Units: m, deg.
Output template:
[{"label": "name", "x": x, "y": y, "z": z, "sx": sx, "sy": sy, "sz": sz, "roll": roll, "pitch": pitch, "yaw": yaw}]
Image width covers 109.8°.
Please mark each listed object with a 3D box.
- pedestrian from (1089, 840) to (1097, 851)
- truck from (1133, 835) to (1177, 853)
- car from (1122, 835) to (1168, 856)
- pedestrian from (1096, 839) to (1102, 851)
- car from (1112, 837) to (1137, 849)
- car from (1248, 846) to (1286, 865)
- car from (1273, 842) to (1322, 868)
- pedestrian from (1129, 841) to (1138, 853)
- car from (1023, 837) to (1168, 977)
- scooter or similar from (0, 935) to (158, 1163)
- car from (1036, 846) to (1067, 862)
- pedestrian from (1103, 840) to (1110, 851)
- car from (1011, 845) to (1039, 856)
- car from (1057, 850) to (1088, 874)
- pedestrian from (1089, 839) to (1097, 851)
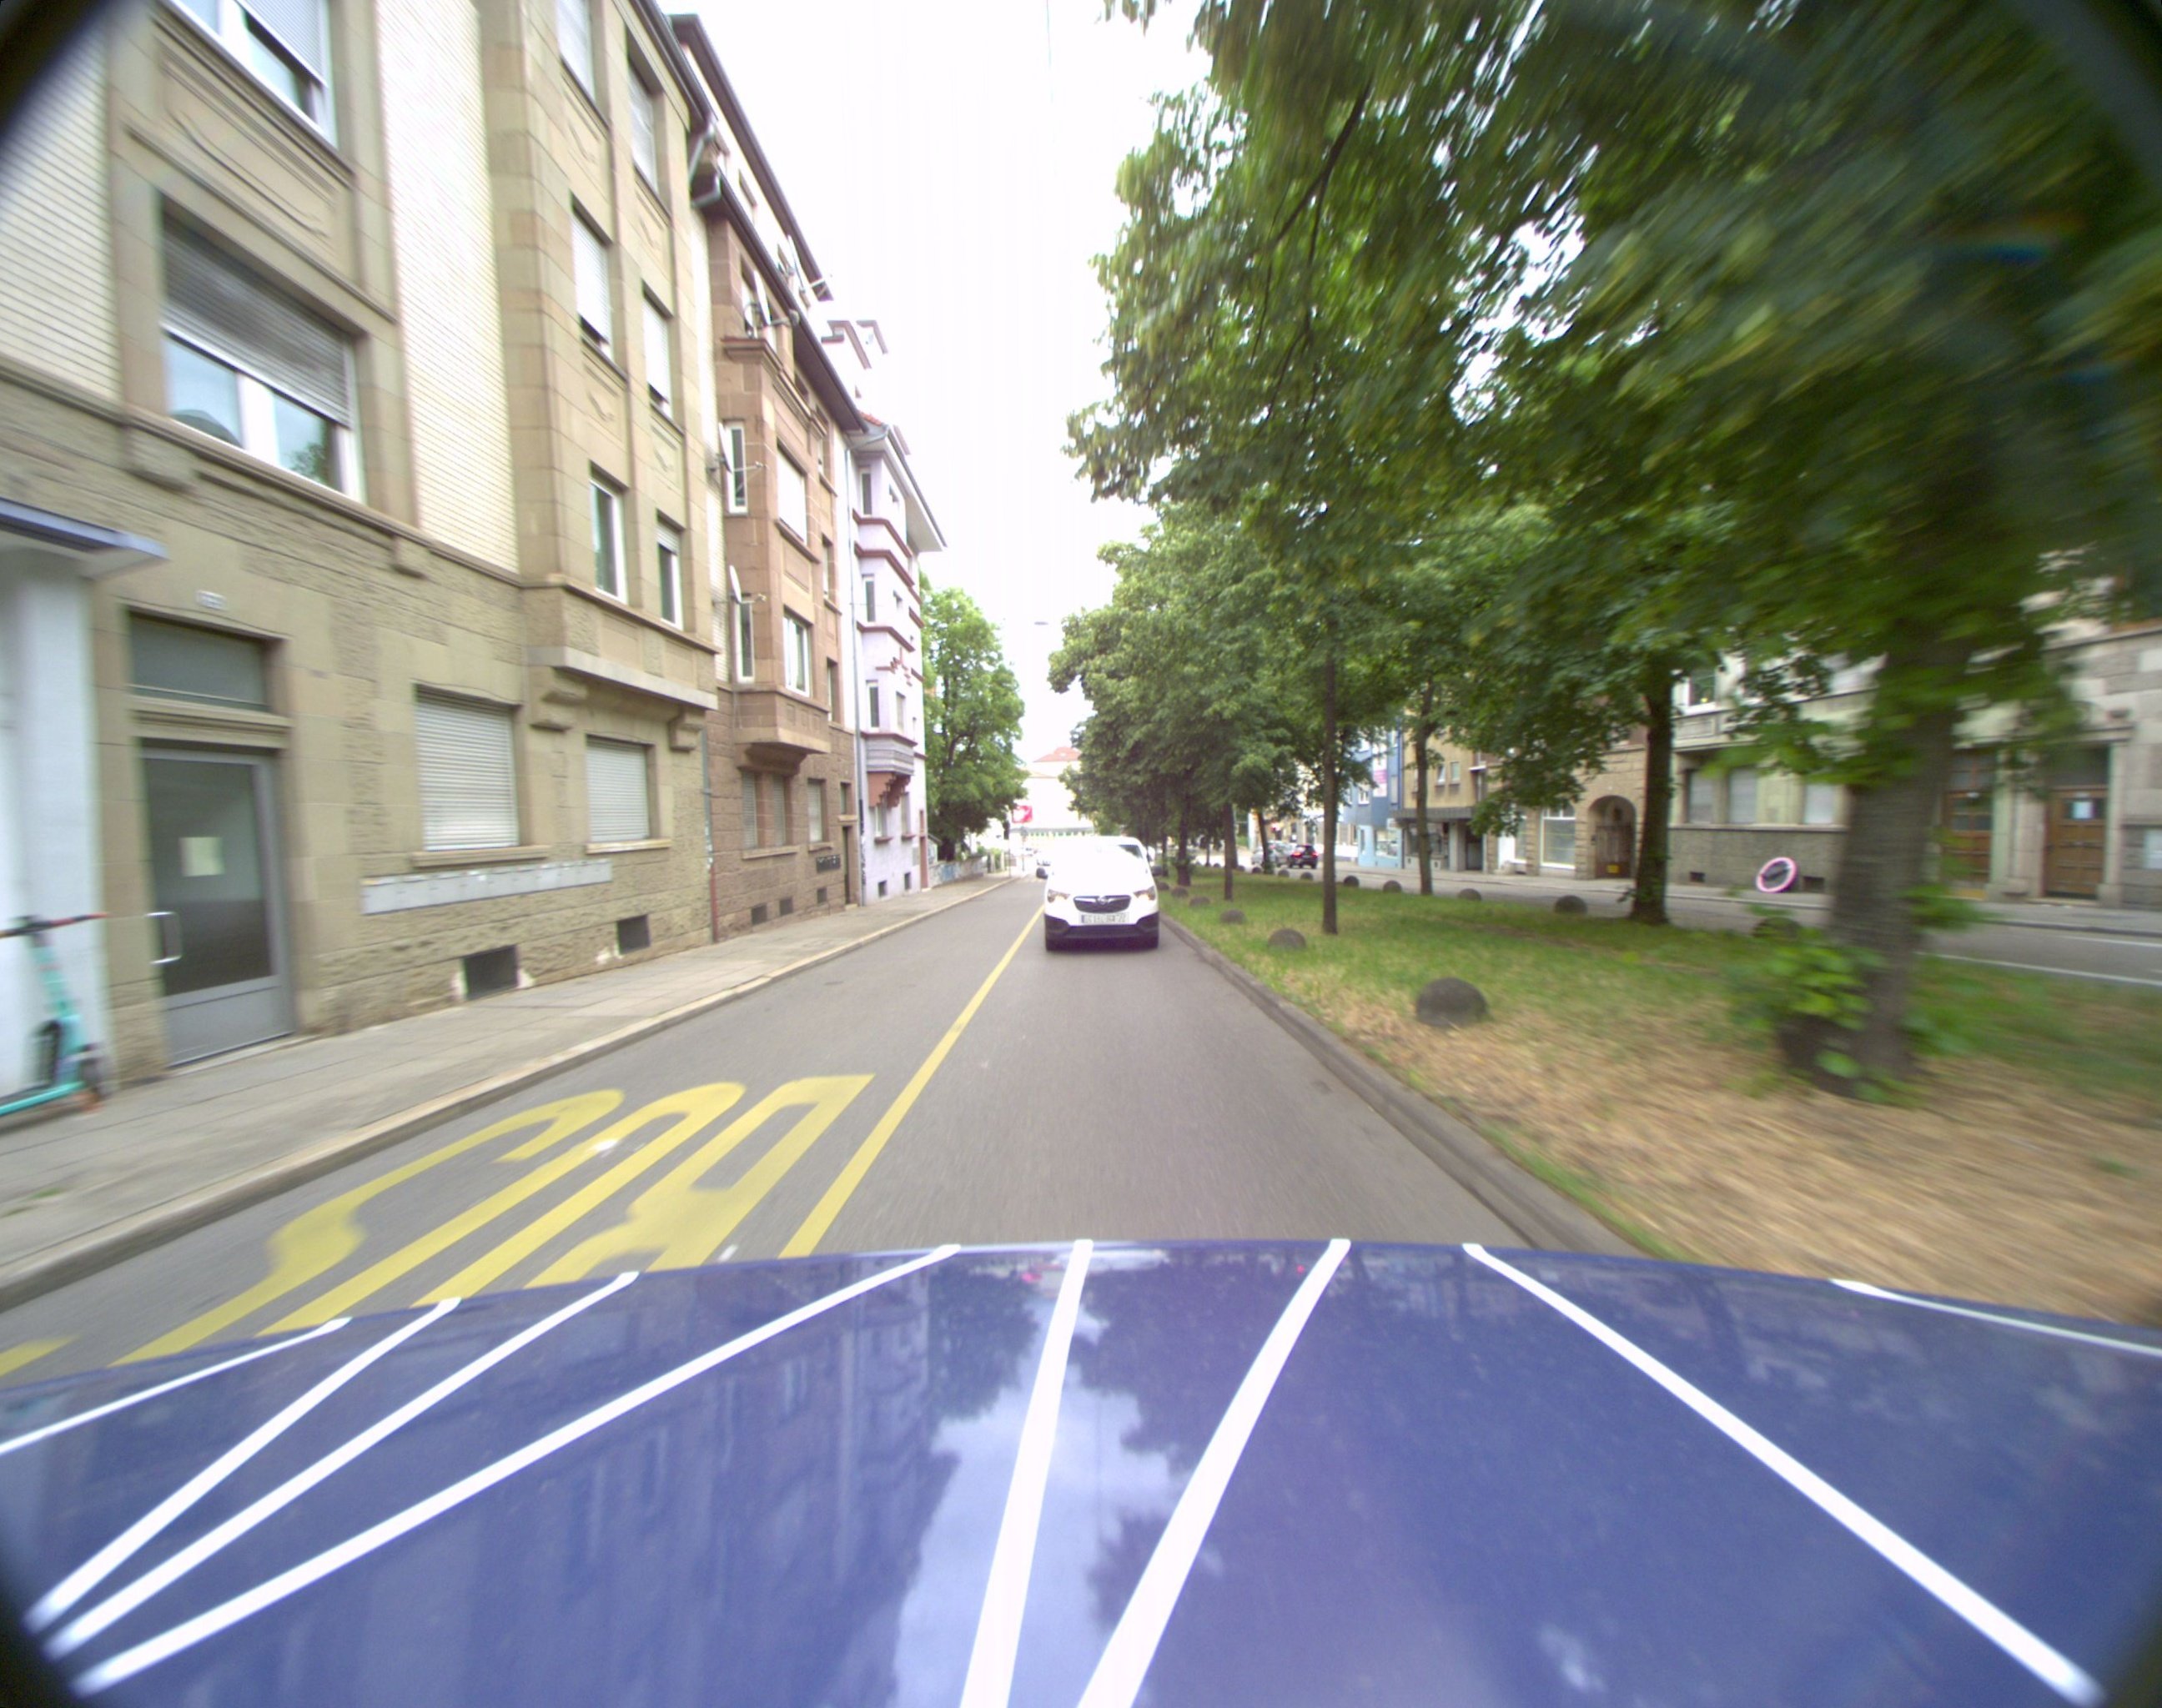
[{"label": "pedestrian", "x": 1.730, "y": -1.211, "z": 107.528, "sx": 0.770, "sy": 1.610, "sz": 0.651, "roll": -1, "pitch": 4, "yaw": 31}, {"label": "truck", "x": 11.512, "y": -1.587, "z": 117.326, "sx": 6.467, "sy": 2.707, "sz": 2.765, "roll": -1, "pitch": 1, "yaw": -34}, {"label": "car", "x": 6.494, "y": -0.871, "z": 77.048, "sx": 4.257, "sy": 2.003, "sz": 2.003, "roll": 0, "pitch": 4, "yaw": 40}, {"label": "pedestrian", "x": 2.584, "y": -1.222, "z": 106.978, "sx": 0.607, "sy": 1.610, "sz": 0.553, "roll": -5, "pitch": 4, "yaw": -35}, {"label": "car", "x": 6.310, "y": -1.585, "z": 110.465, "sx": 2.207, "sy": 1.563, "sz": 4.482, "roll": -1, "pitch": 3, "yaw": 22}, {"label": "car", "x": 14.295, "y": 0.108, "z": 58.699, "sx": 1.673, "sy": 1.398, "sz": 4.293, "roll": -1, "pitch": 0, "yaw": -3}, {"label": "car", "x": 14.497, "y": 0.004, "z": 51.076, "sx": 1.820, "sy": 1.627, "sz": 4.677, "roll": 0, "pitch": 2, "yaw": -1}, {"label": "pedestrian", "x": 6.779, "y": -0.911, "z": 98.615, "sx": 0.707, "sy": 1.574, "sz": 0.801, "roll": -5, "pitch": 4, "yaw": -34}, {"label": "car", "x": 0.301, "y": 0.660, "z": 12.427, "sx": 1.857, "sy": 1.799, "sz": 4.729, "roll": -2, "pitch": 1, "yaw": 3}, {"label": "scooter or similar", "x": -6.124, "y": 1.096, "z": 4.278, "sx": 0.411, "sy": 1.202, "sz": 1.145, "roll": 1, "pitch": -2, "yaw": 0}, {"label": "car", "x": -3.045, "y": -0.004, "z": 76.563, "sx": 1.956, "sy": 1.541, "sz": 4.029, "roll": -3, "pitch": 0, "yaw": -20}, {"label": "pedestrian", "x": 3.914, "y": -1.322, "z": 116.561, "sx": 0.867, "sy": 1.610, "sz": 0.919, "roll": -2, "pitch": 3, "yaw": 13}, {"label": "car", "x": -7.990, "y": -0.463, "z": 107.608, "sx": 1.799, "sy": 1.422, "sz": 3.950, "roll": -5, "pitch": 4, "yaw": -43}, {"label": "car", "x": -0.628, "y": 0.516, "z": 52.699, "sx": 2.038, "sy": 1.541, "sz": 4.034, "roll": -3, "pitch": 0, "yaw": -2}, {"label": "pedestrian", "x": 1.747, "y": -1.281, "z": 109.068, "sx": 0.773, "sy": 1.610, "sz": 0.648, "roll": -5, "pitch": 4, "yaw": -38}]
